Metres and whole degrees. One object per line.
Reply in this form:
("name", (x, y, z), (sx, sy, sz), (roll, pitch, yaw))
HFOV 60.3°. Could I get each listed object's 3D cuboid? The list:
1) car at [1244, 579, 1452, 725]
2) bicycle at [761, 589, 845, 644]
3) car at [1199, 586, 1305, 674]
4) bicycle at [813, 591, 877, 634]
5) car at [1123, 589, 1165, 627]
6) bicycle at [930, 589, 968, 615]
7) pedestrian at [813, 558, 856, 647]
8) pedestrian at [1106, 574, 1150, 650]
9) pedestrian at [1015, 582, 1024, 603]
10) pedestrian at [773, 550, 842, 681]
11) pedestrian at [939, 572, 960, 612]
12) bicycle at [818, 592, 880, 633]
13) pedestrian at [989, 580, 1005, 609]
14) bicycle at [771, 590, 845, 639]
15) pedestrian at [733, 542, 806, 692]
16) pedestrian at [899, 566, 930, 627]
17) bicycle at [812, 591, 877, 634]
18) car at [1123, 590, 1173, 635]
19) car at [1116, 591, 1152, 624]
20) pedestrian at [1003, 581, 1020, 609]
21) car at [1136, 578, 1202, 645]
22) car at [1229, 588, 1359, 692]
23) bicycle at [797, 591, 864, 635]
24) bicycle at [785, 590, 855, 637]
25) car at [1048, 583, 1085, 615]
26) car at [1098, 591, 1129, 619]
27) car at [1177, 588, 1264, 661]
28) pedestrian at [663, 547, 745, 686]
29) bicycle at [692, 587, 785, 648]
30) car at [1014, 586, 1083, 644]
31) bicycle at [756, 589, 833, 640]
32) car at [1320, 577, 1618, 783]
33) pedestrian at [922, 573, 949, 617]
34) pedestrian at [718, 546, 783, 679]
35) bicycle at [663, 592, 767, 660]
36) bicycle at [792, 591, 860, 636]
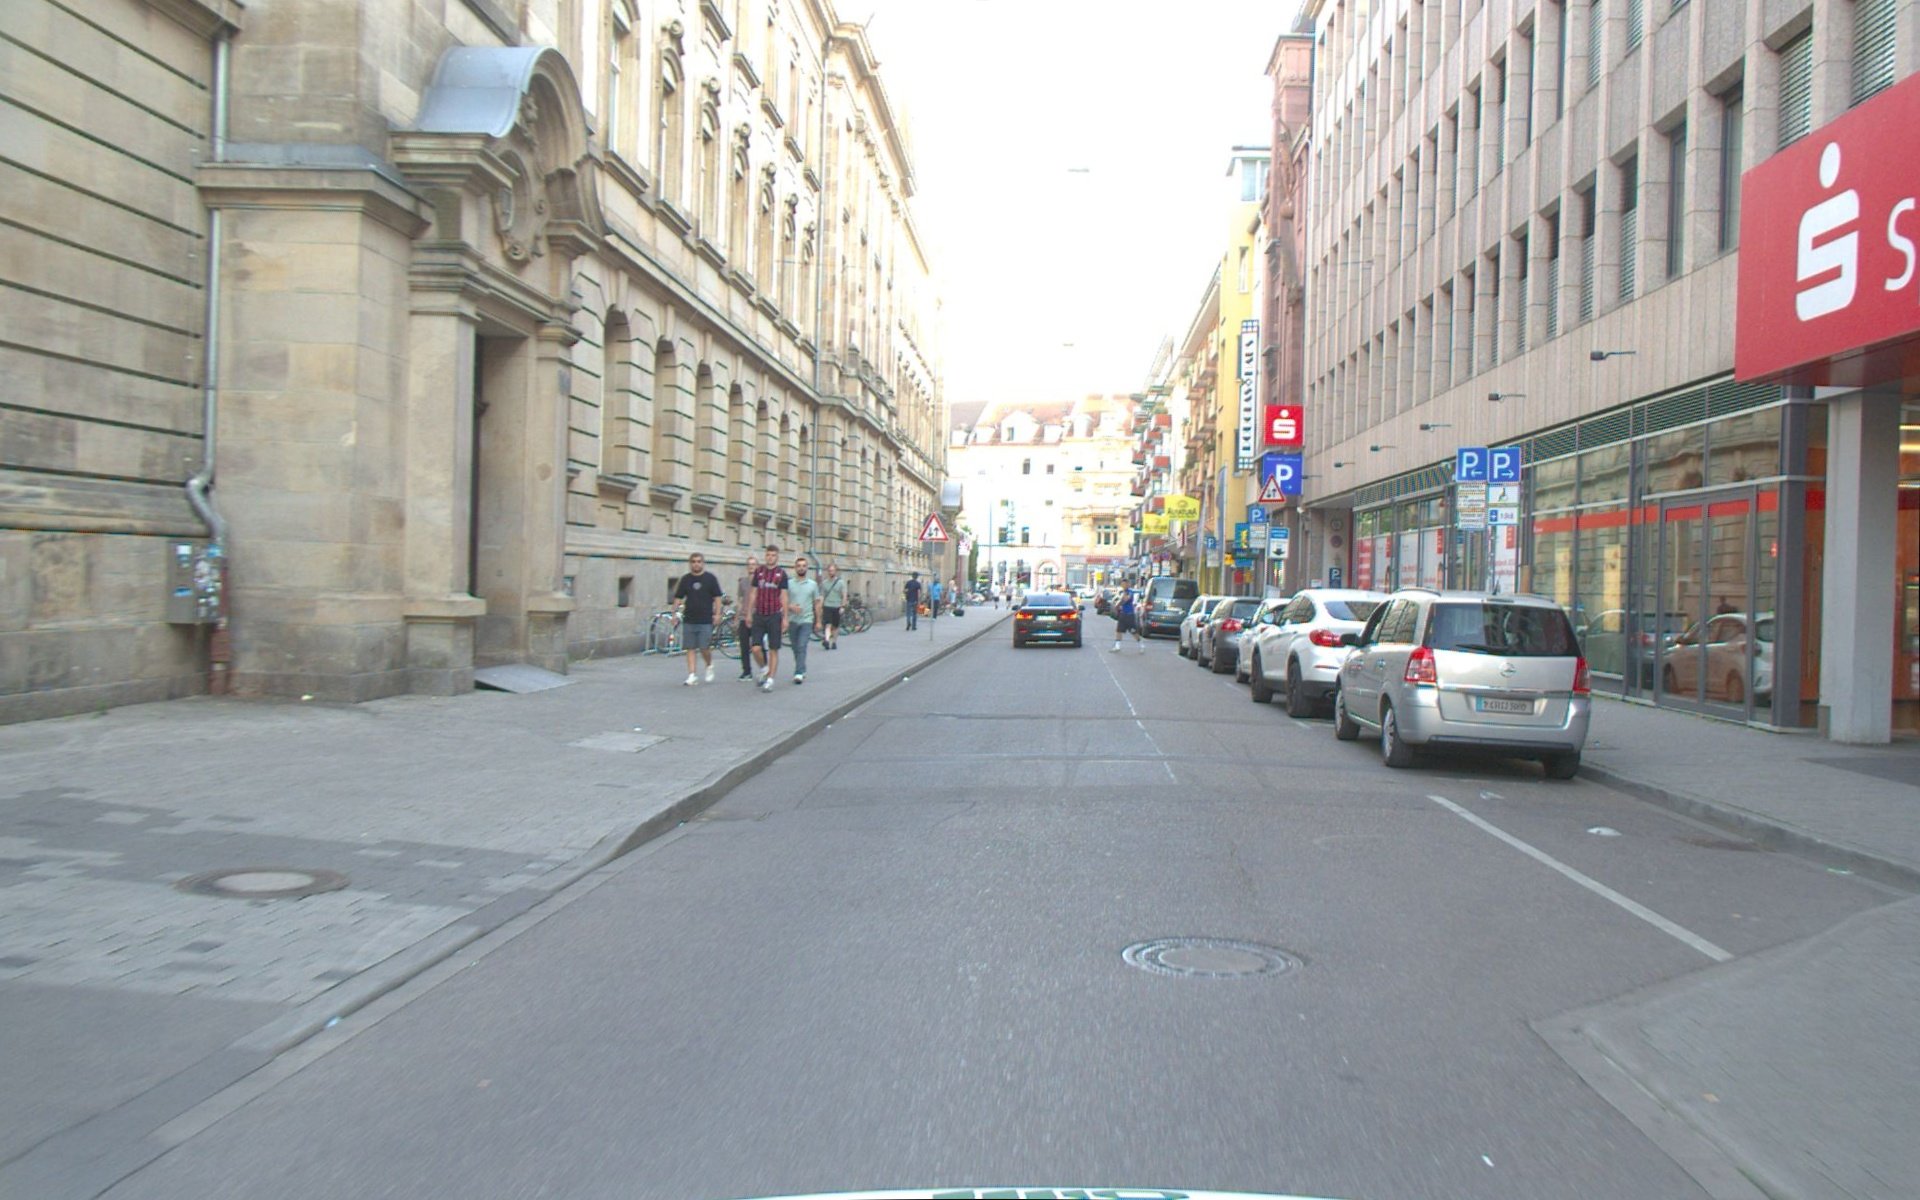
("car", (5.030, 0.606, 21.997), (1.734, 1.664, 4.090), (3, 1, 0))
("bicycle", (-3.275, 0.342, 34.603), (1.645, 1.059, 0.487), (3, 0, 2))
("car", (5.723, 0.549, 32.736), (1.610, 1.549, 3.286), (3, 1, 3))
("bicycle", (-3.122, 0.341, 44.866), (1.645, 1.059, 0.487), (3, 0, 2))
("car", (8.221, 0.330, 74.059), (1.610, 1.549, 3.286), (3, 1, 3))
("bicycle", (-0.506, 0.097, 76.913), (1.644, 1.059, 0.487), (5, 0, 4))
("pedestrian", (-2.602, 0.048, 34.322), (0.704, 1.782, 0.669), (4, 0, 1))
("pedestrian", (4.057, 0.284, 39.927), (0.809, 1.822, 0.722), (1, 0, -22))
("pedestrian", (5.136, -0.667, 143.379), (0.652, 1.782, 0.681), (4, 0, 0))
("pedestrian", (-2.159, 0.216, 23.519), (0.770, 1.782, 0.722), (4, 0, 1))
("pedestrian", (-0.463, -0.359, 75.976), (0.791, 1.782, 0.936), (4, 0, 2))
("bicycle", (-3.090, 0.341, 46.153), (1.645, 1.059, 0.487), (3, 0, 2))
("pedestrian", (2.389, -0.345, 107.850), (0.914, 1.782, 0.810), (4, 0, 0))
("bicycle", (-3.613, 0.334, 39.288), (1.645, 1.059, 0.487), (3, 0, 2))
("pedestrian", (-2.457, 0.211, 21.465), (0.683, 1.843, 0.975), (4, 0, 1))
("pedestrian", (-1.401, -0.113, 50.672), (0.787, 1.782, 0.810), (4, 0, 1))
("bicycle", (-3.106, 0.342, 44.400), (1.645, 1.059, 0.487), (3, 0, 2))
("car", (7.134, 0.450, 63.047), (1.610, 1.549, 3.286), (3, 1, 3))
("car", (8.963, 0.364, 85.455), (1.610, 1.549, 3.286), (3, 1, 3))
("pedestrian", (3.376, -0.325, 108.366), (0.914, 1.782, 0.810), (4, 0, 0))
("car", (6.986, 0.350, 55.506), (1.831, 2.053, 3.767), (3, 1, 3))
("car", (5.574, 0.626, 27.907), (1.610, 1.549, 3.286), (3, 1, 3))
("bicycle", (-3.366, 0.337, 43.078), (1.645, 1.059, 0.487), (3, 0, 2))
("bicycle", (-3.509, 0.335, 41.390), (1.645, 1.059, 0.487), (3, 0, 2))
("car", (5.369, -0.057, 83.944), (1.757, 1.536, 4.001), (2, 1, 2))
("car", (9.249, 0.286, 99.837), (1.610, 1.549, 3.286), (3, 1, 3))
("car", (6.083, 0.535, 38.841), (1.610, 1.549, 3.286), (3, 1, 3))
("pedestrian", (-3.313, 0.201, 21.464), (0.781, 1.704, 0.975), (4, 0, 1))
("bicycle", (-4.171, 0.325, 31.103), (1.651, 1.059, 0.485), (3, 0, -14))
("car", (2.315, 0.367, 43.539), (1.733, 1.433, 4.054), (0, 0, 2))
("bicycle", (-3.799, 0.330, 38.026), (1.645, 1.059, 0.487), (3, 0, 2))
("car", (4.781, 0.662, 16.130), (1.733, 1.664, 4.054), (3, 1, 2))
("pedestrian", (-0.946, -0.192, 64.362), (0.914, 1.664, 0.654), (4, 0, 1))
("pedestrian", (-2.923, 0.173, 23.084), (0.675, 1.782, 0.722), (4, 0, 1))
("bicycle", (-4.189, 0.434, 28.267), (1.644, 1.059, 0.488), (3, 0, 8))
("bicycle", (-3.450, 0.336, 42.626), (1.645, 1.059, 0.487), (3, 0, 2))
